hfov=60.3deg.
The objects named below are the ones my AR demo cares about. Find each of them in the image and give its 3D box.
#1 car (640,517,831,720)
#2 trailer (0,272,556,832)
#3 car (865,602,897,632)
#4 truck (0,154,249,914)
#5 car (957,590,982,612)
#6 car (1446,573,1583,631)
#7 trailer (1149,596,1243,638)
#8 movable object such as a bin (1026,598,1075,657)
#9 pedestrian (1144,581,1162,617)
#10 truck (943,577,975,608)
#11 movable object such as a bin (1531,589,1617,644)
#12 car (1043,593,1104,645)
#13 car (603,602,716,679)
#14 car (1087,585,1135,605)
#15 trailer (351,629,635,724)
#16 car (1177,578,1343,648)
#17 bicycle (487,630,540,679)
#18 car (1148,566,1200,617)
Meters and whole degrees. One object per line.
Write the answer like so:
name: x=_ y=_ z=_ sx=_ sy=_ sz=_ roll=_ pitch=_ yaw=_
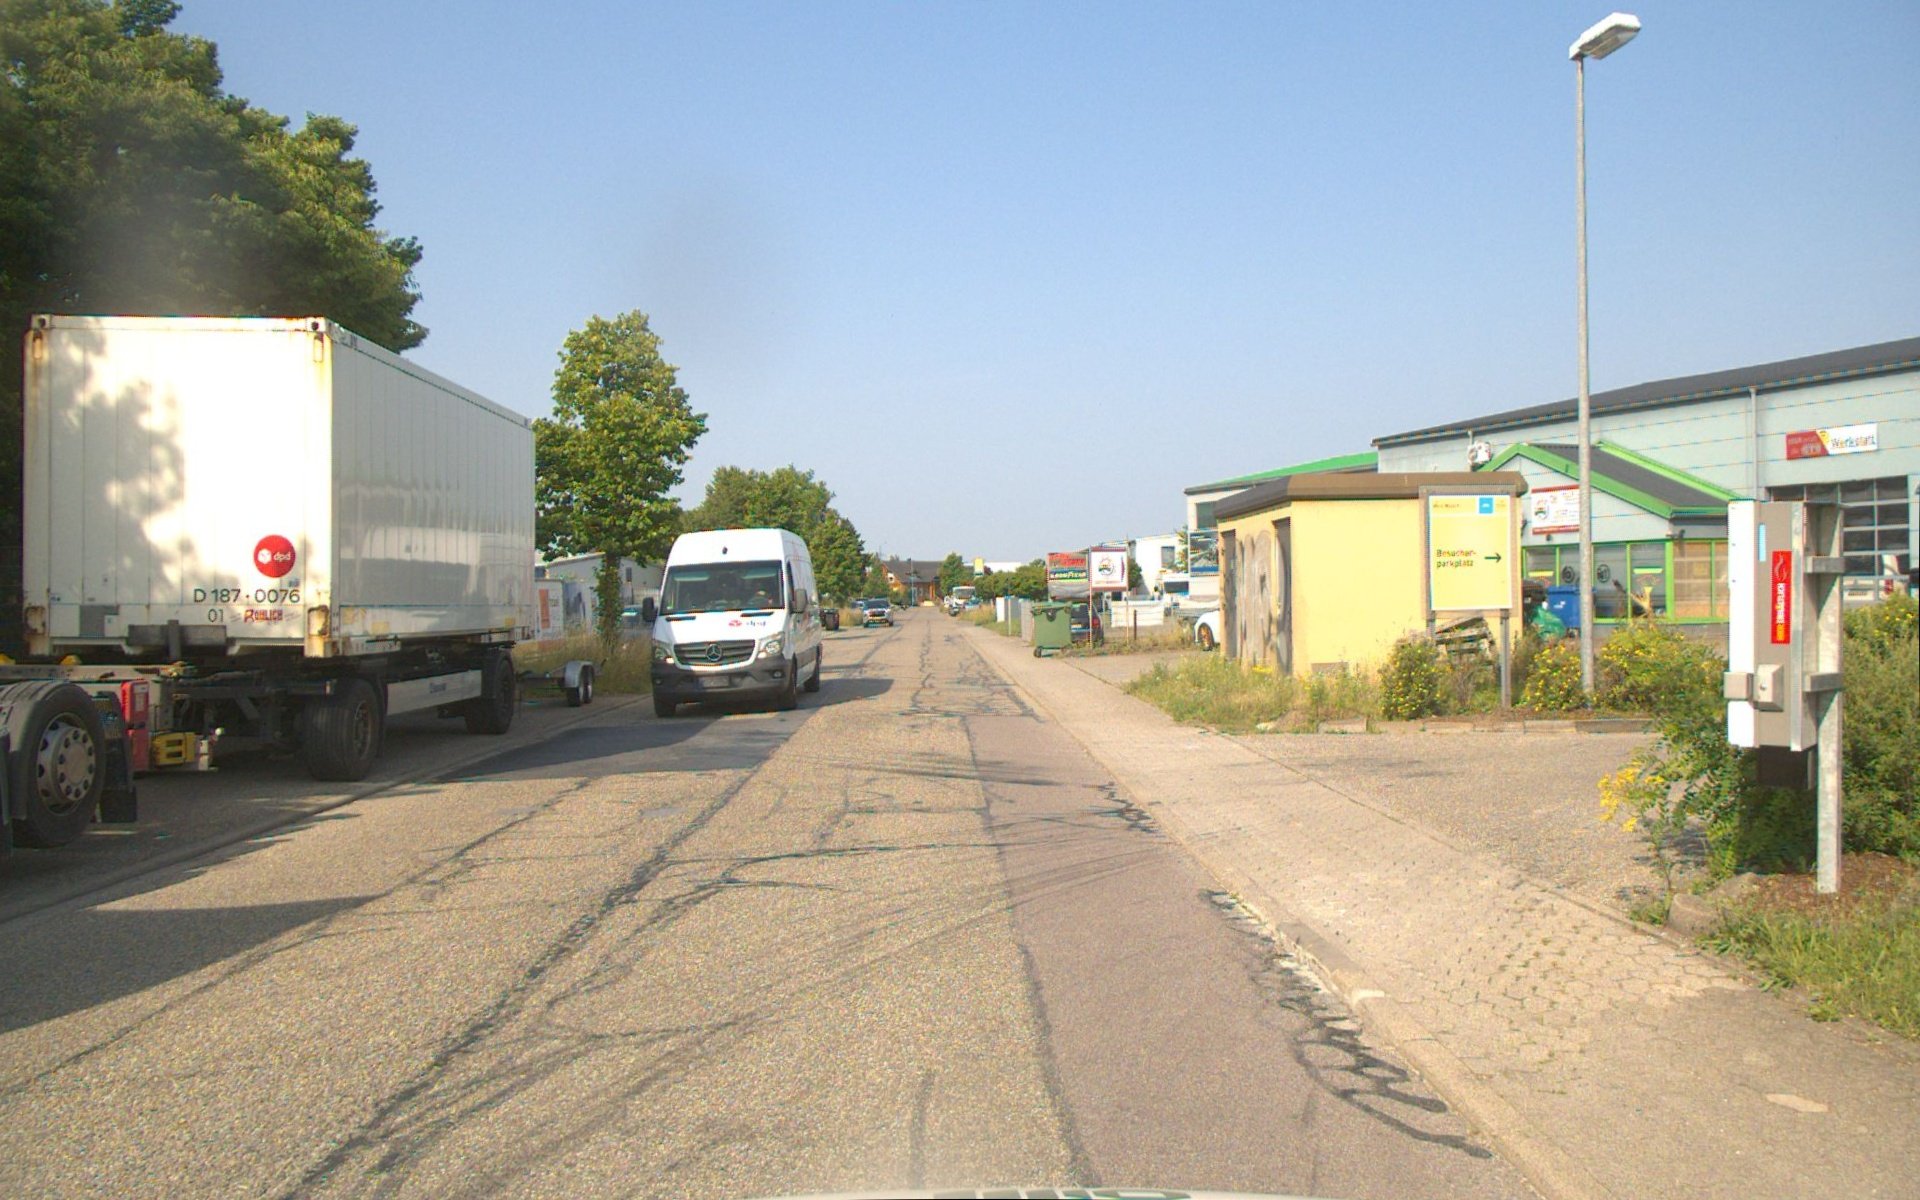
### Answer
car: x=-3.228 y=0.222 z=25.262 sx=1.953 sy=2.591 sz=6.988 roll=-2 pitch=0 yaw=-1
trailer: x=-6.459 y=-0.348 z=16.563 sx=2.645 sy=3.952 sz=9.762 roll=0 pitch=0 yaw=-1
car: x=-4.739 y=0.999 z=99.235 sx=1.775 sy=1.655 sz=4.248 roll=-2 pitch=0 yaw=-2
truck: x=-6.303 y=-0.339 z=6.841 sx=2.658 sy=3.952 sz=9.634 roll=0 pitch=0 yaw=-1
car: x=0.723 y=0.072 z=125.605 sx=1.758 sy=1.544 sz=4.423 roll=-1 pitch=0 yaw=-2
car: x=13.900 y=0.052 z=41.614 sx=1.558 sy=1.369 sz=3.166 roll=-2 pitch=1 yaw=-23
trailer: x=7.263 y=0.504 z=51.091 sx=1.472 sy=1.270 sz=2.951 roll=0 pitch=0 yaw=-27
movable object such as a bin: x=2.254 y=0.666 z=41.469 sx=1.059 sy=1.376 sz=1.505 roll=-4 pitch=0 yaw=0
pedestrian: x=8.932 y=-0.052 z=76.576 sx=0.688 sy=1.668 sz=0.749 roll=-2 pitch=0 yaw=0
truck: x=-0.094 y=-0.670 z=149.428 sx=2.313 sy=2.728 sz=6.504 roll=-1 pitch=0 yaw=-5
movable object such as a bin: x=15.948 y=0.410 z=43.003 sx=0.983 sy=1.369 sz=1.994 roll=-2 pitch=0 yaw=-23
car: x=3.239 y=0.512 z=47.393 sx=1.638 sy=1.392 sz=4.395 roll=-2 pitch=0 yaw=3
car: x=-6.446 y=0.832 z=35.842 sx=1.653 sy=1.496 sz=4.093 roll=-2 pitch=0 yaw=0
car: x=13.133 y=-0.413 z=143.910 sx=1.659 sy=1.616 sz=4.503 roll=-1 pitch=0 yaw=44
trailer: x=-6.665 y=1.042 z=24.566 sx=2.595 sy=1.002 sz=6.241 roll=-2 pitch=0 yaw=-2
car: x=6.914 y=0.305 z=38.501 sx=1.666 sy=1.491 sz=4.228 roll=-2 pitch=0 yaw=-25
bicycle: x=-10.042 y=1.214 z=37.268 sx=0.551 sy=0.990 sz=2.451 roll=-2 pitch=0 yaw=-2
car: x=12.067 y=-0.484 z=93.592 sx=1.934 sy=2.753 sz=5.879 roll=-2 pitch=0 yaw=-2
